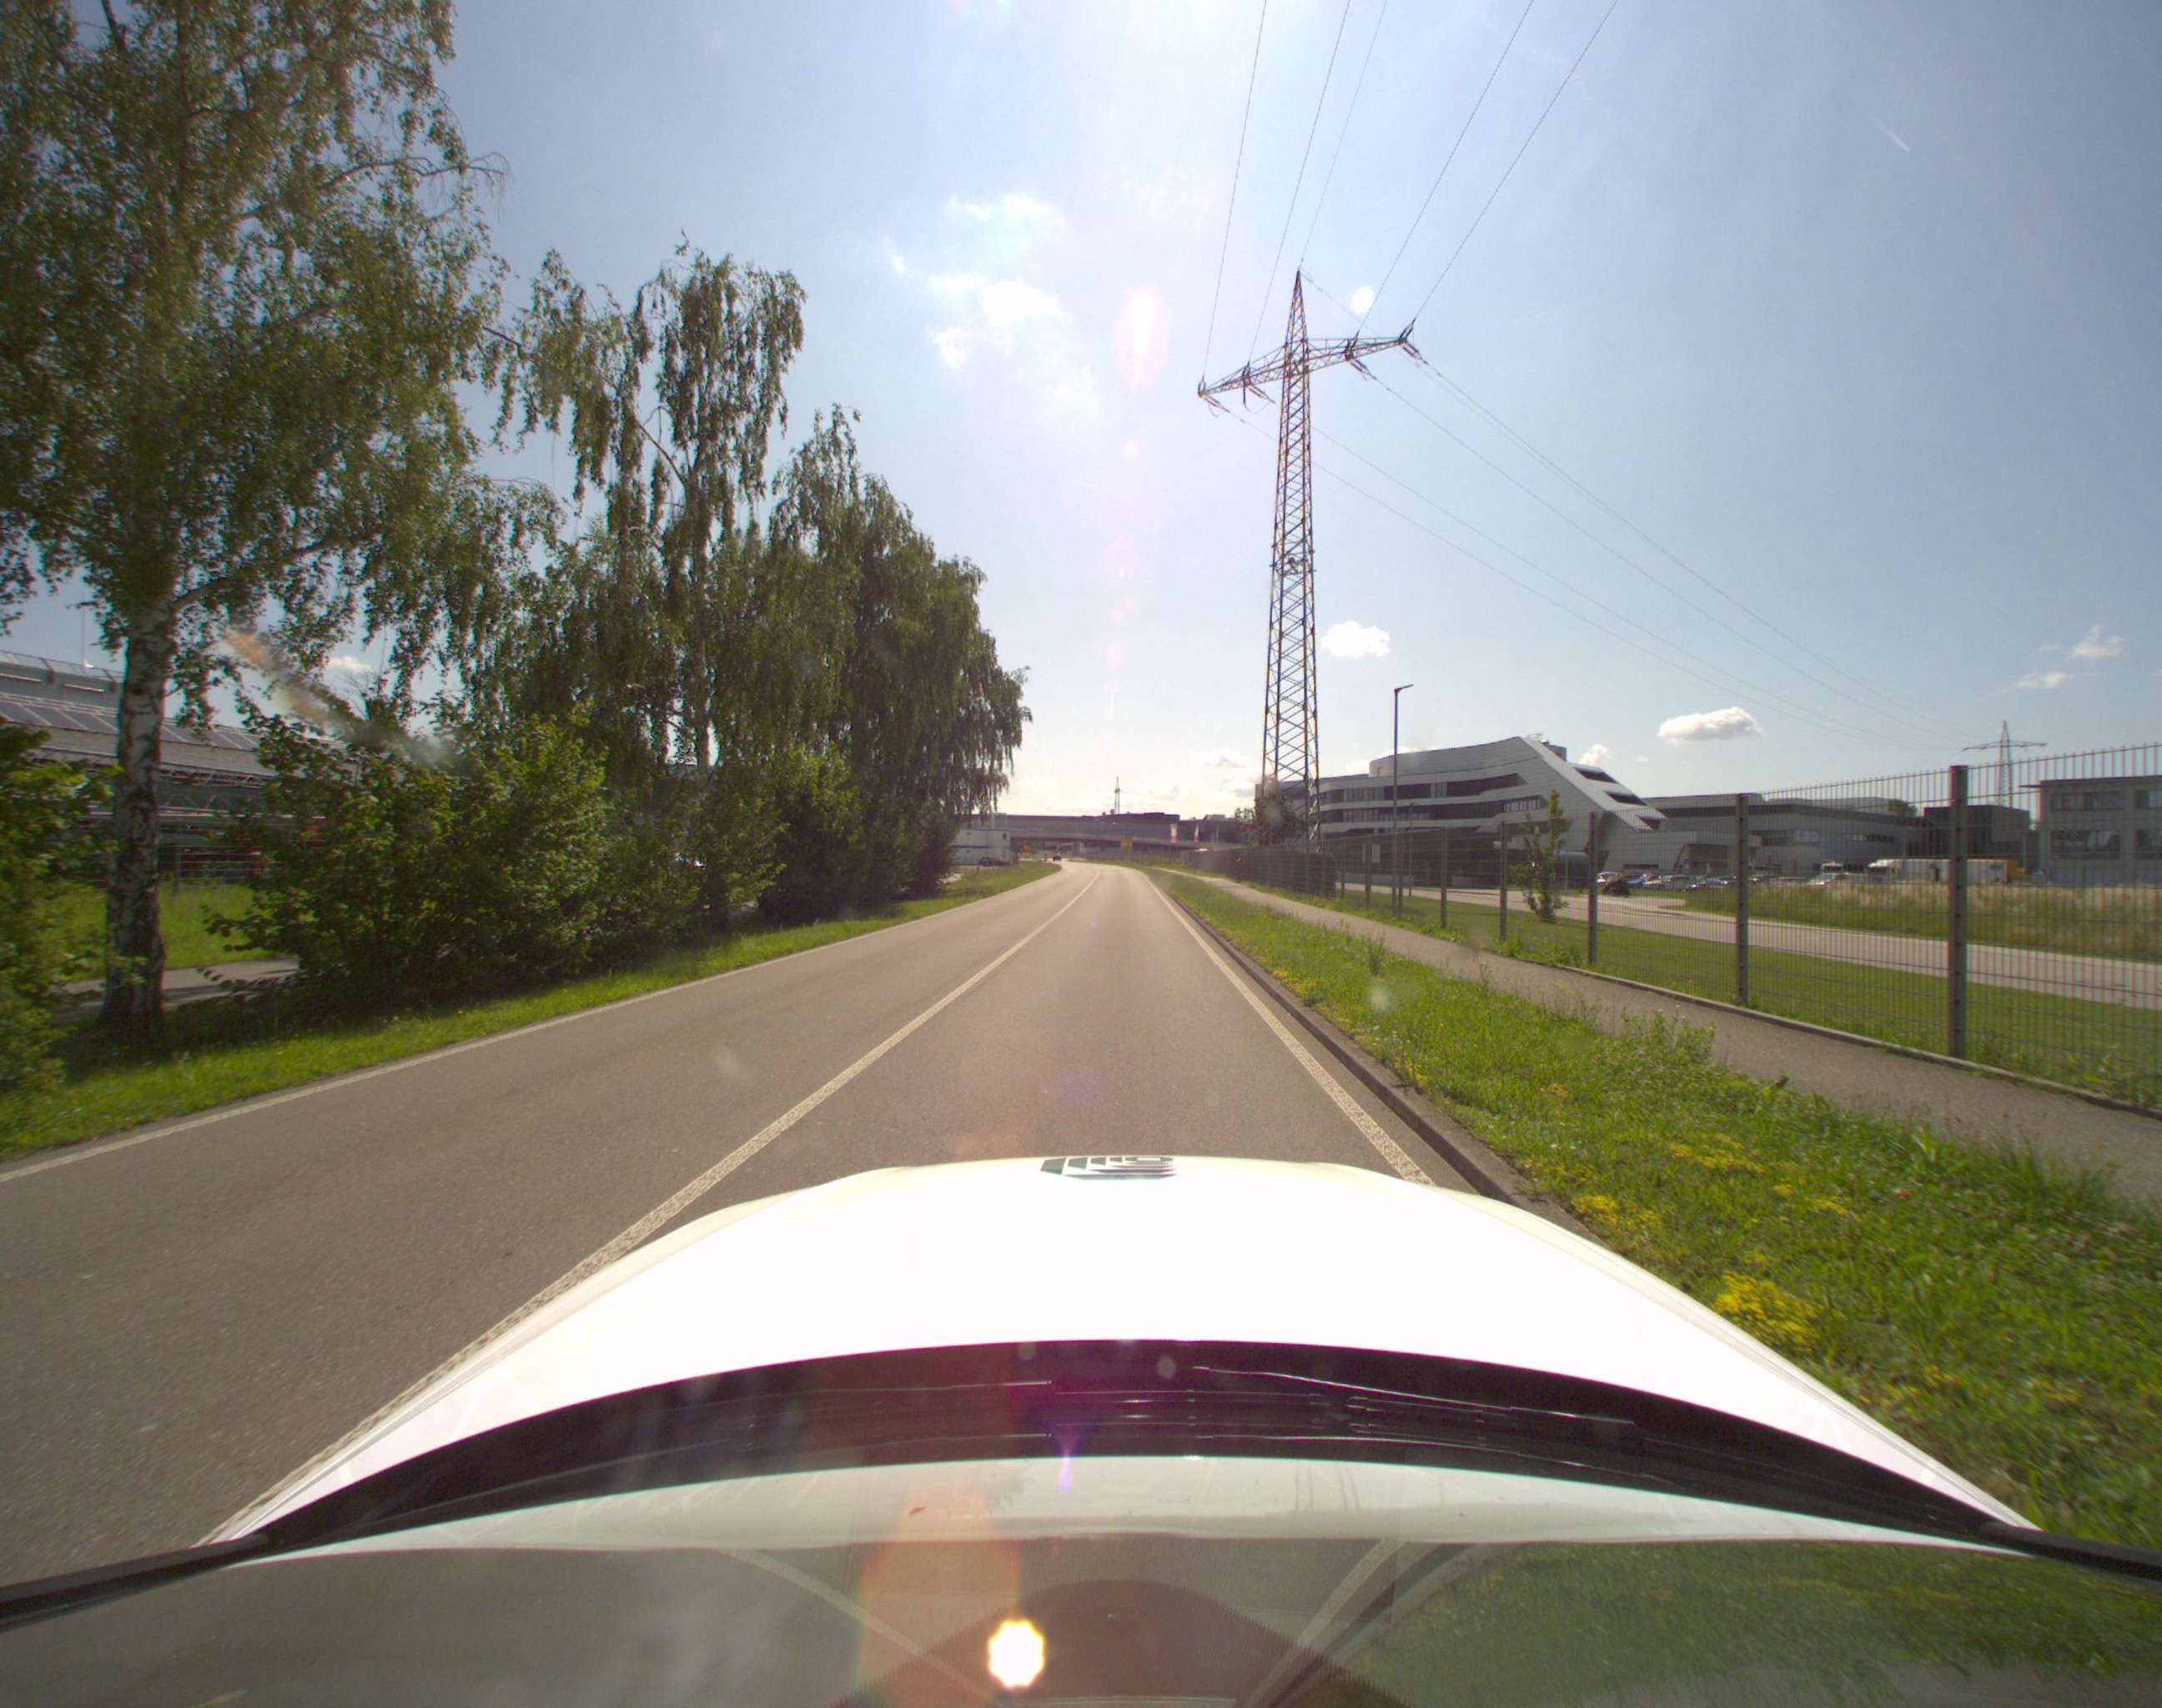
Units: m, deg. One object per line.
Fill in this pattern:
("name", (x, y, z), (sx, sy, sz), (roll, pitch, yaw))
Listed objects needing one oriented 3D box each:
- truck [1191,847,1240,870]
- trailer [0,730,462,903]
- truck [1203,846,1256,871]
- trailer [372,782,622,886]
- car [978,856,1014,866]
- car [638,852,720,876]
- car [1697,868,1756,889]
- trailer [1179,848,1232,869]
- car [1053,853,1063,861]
("truck", (25.572, 0.875, 154.354), (11.029, 4.172, 2.790), (0, -1, -40))
("trailer", (-24.144, -0.752, 21.422), (3.275, 3.645, 14.945), (0, 0, 5))
("truck", (26.595, 0.836, 145.274), (11.030, 4.256, 2.993), (0, -1, -40))
("trailer", (-23.125, -0.664, 33.167), (3.383, 3.645, 8.670), (0, -1, 5))
("car", (-12.416, 0.997, 119.201), (4.980, 1.417, 1.989), (1, 0, -17))
("car", (-23.719, 0.577, 48.103), (3.968, 1.342, 1.750), (1, 0, 5))
("car", (69.883, 2.633, 88.162), (4.719, 2.013, 2.001), (2, 0, 2))
("trailer", (27.146, 0.949, 176.927), (14.137, 4.438, 2.733), (0, -1, -41))
("car", (-4.833, 0.668, 171.053), (1.988, 1.544, 3.998), (0, -1, -1))
